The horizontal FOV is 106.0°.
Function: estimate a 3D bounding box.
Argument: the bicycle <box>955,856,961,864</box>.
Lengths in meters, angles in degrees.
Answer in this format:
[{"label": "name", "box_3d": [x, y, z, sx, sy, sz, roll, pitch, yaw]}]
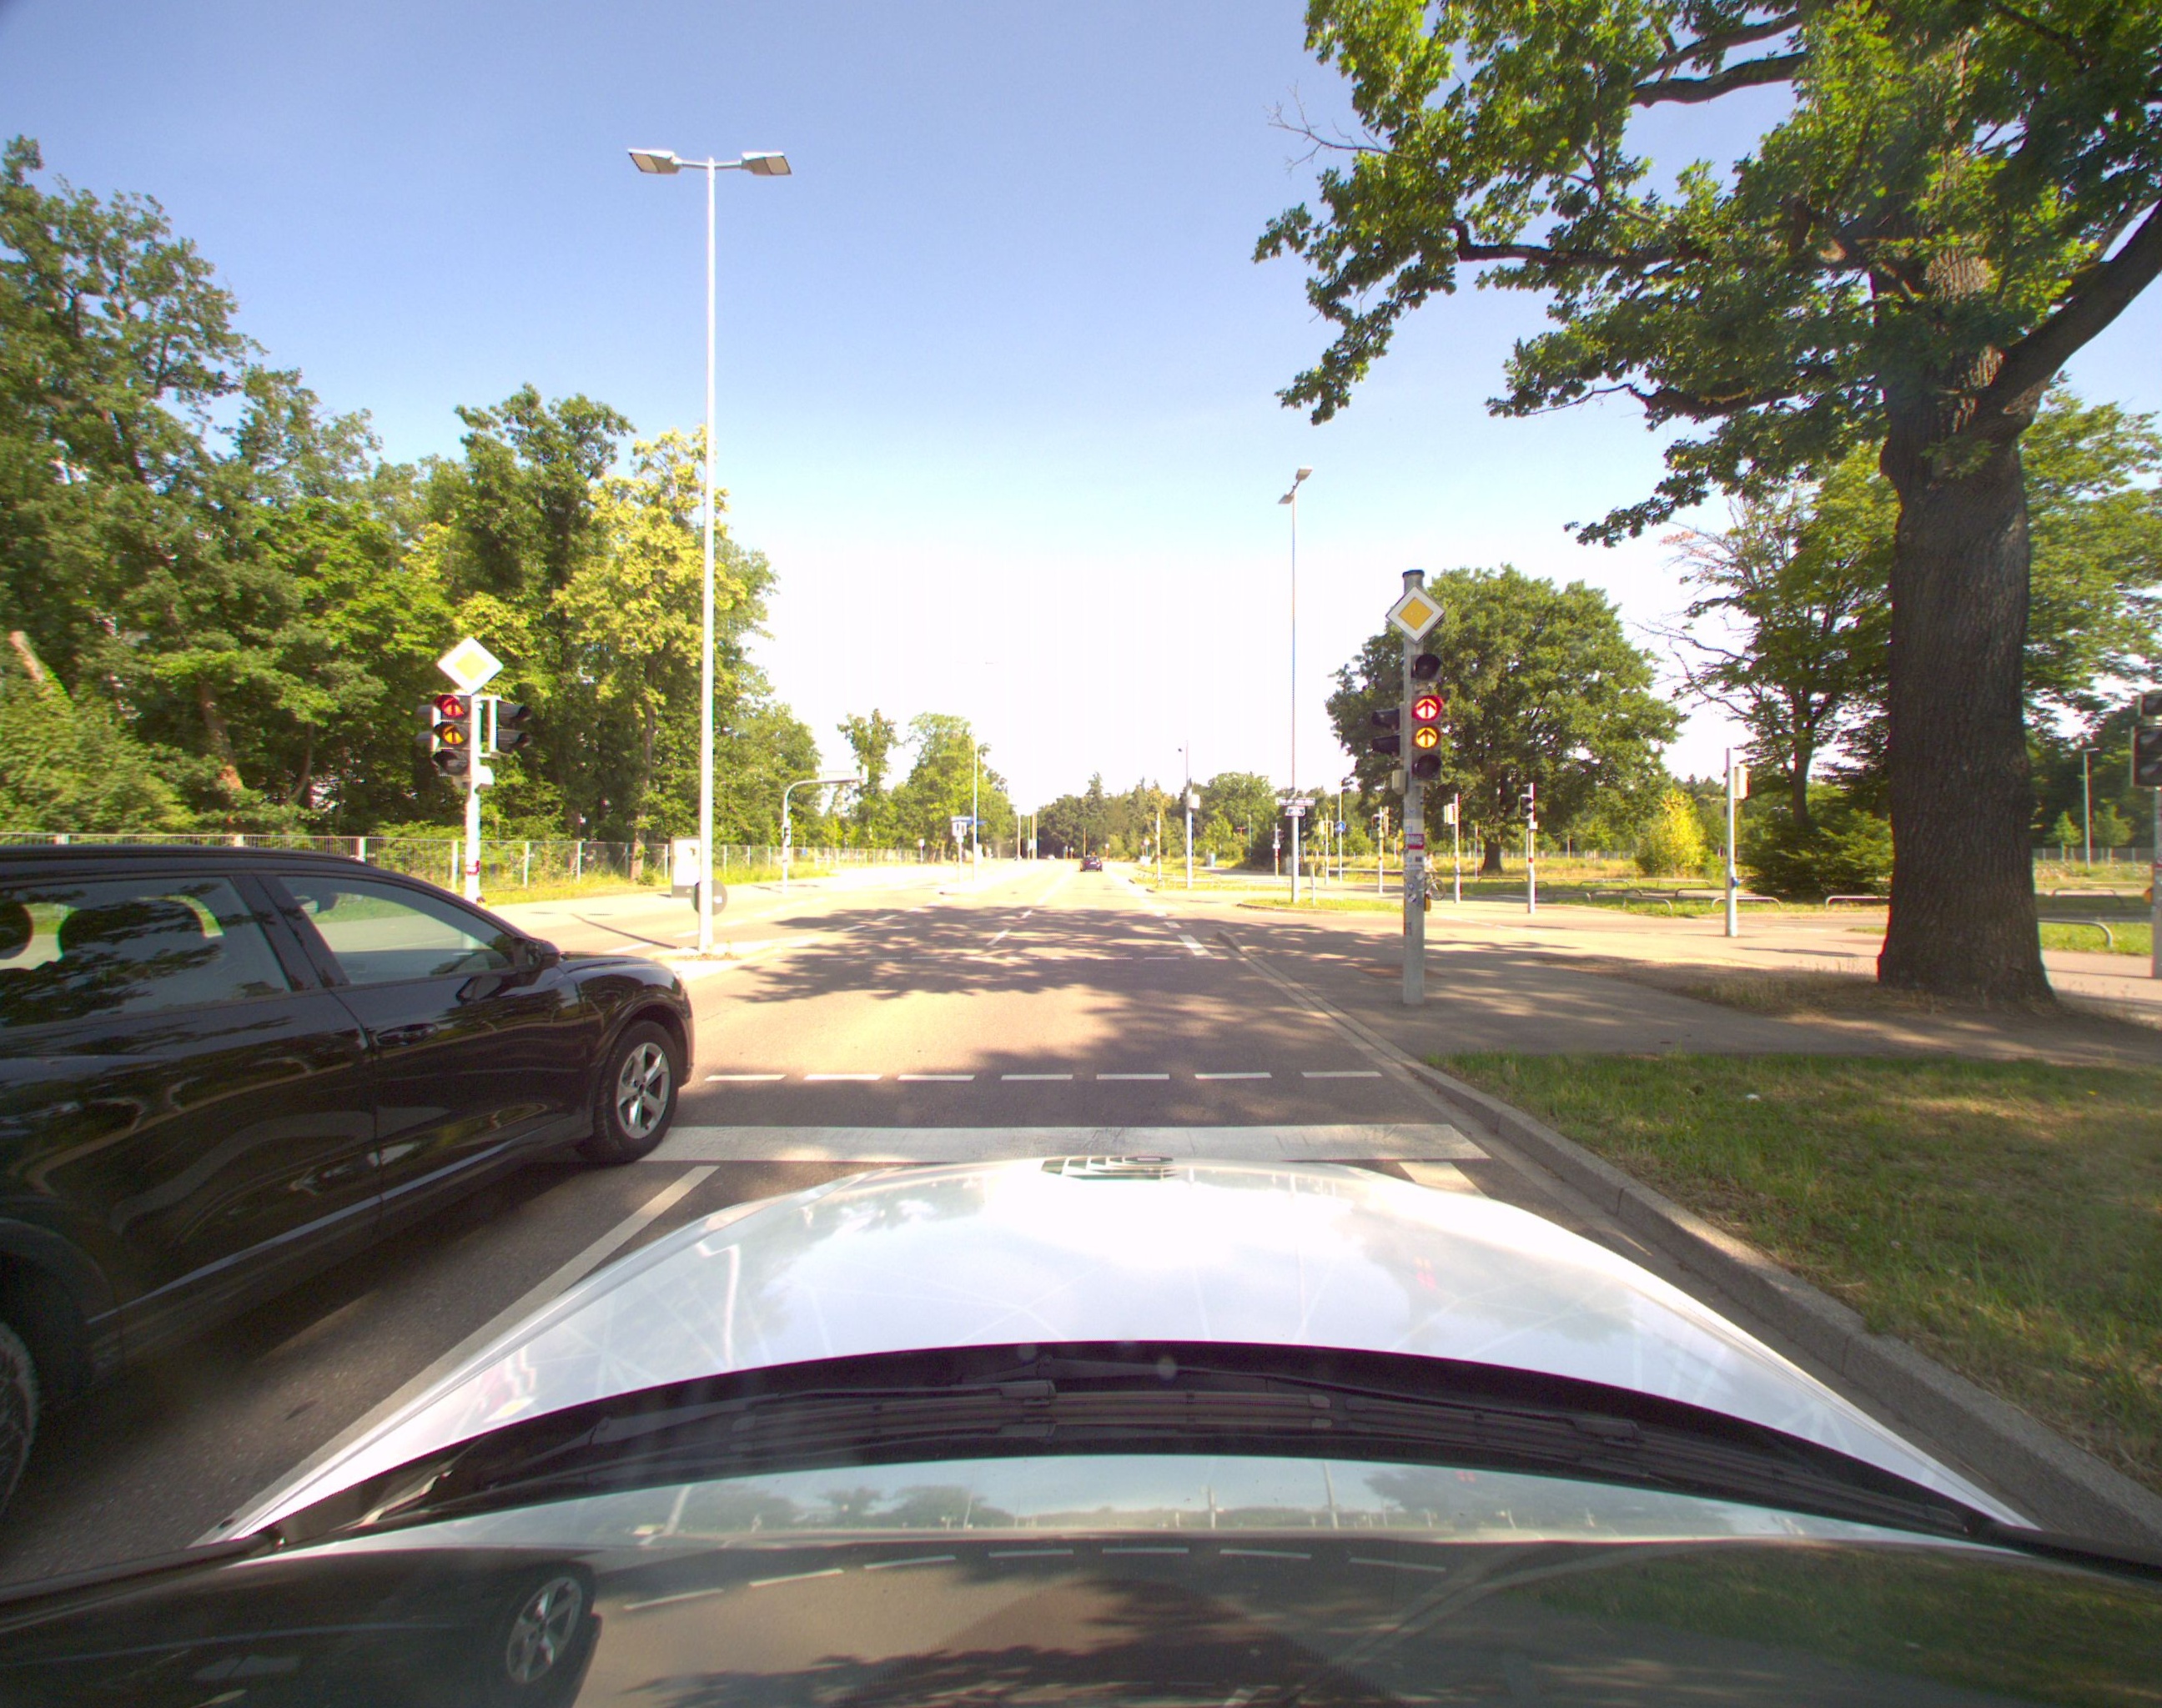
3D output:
[{"label": "bicycle", "box_3d": [-17.893, 0.810, 118.640, 0.658, 1.136, 1.876, 1, 0, -3]}]

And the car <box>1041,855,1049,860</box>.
[{"label": "car", "box_3d": [-10.938, 0.961, 248.924, 1.994, 1.596, 3.986, 0, 0, -10]}]

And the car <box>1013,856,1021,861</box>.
[{"label": "car", "box_3d": [-17.795, 1.307, 225.664, 1.810, 1.388, 4.148, -2, 0, -9]}]

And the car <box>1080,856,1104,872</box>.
[{"label": "car", "box_3d": [0.979, 0.916, 74.710, 1.936, 1.420, 4.288, 0, 0, -3]}]

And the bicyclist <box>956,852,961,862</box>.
[{"label": "bicyclist", "box_3d": [-17.862, 0.434, 118.595, 0.658, 1.467, 1.056, 1, 0, -3]}]

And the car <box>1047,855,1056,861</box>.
[{"label": "car", "box_3d": [-8.397, 1.150, 229.446, 1.994, 1.750, 3.985, 0, -1, -10]}]

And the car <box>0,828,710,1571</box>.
[{"label": "car", "box_3d": [-3.068, 0.731, 2.657, 1.681, 1.544, 4.150, -1, 0, 2]}]

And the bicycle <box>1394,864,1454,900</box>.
[{"label": "bicycle", "box_3d": [12.098, 0.959, 28.775, 0.726, 1.199, 2.086, 0, 0, -21]}]

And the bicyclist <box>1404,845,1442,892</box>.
[{"label": "bicyclist", "box_3d": [12.086, 0.509, 28.812, 0.726, 1.639, 1.050, 0, 0, -21]}]
